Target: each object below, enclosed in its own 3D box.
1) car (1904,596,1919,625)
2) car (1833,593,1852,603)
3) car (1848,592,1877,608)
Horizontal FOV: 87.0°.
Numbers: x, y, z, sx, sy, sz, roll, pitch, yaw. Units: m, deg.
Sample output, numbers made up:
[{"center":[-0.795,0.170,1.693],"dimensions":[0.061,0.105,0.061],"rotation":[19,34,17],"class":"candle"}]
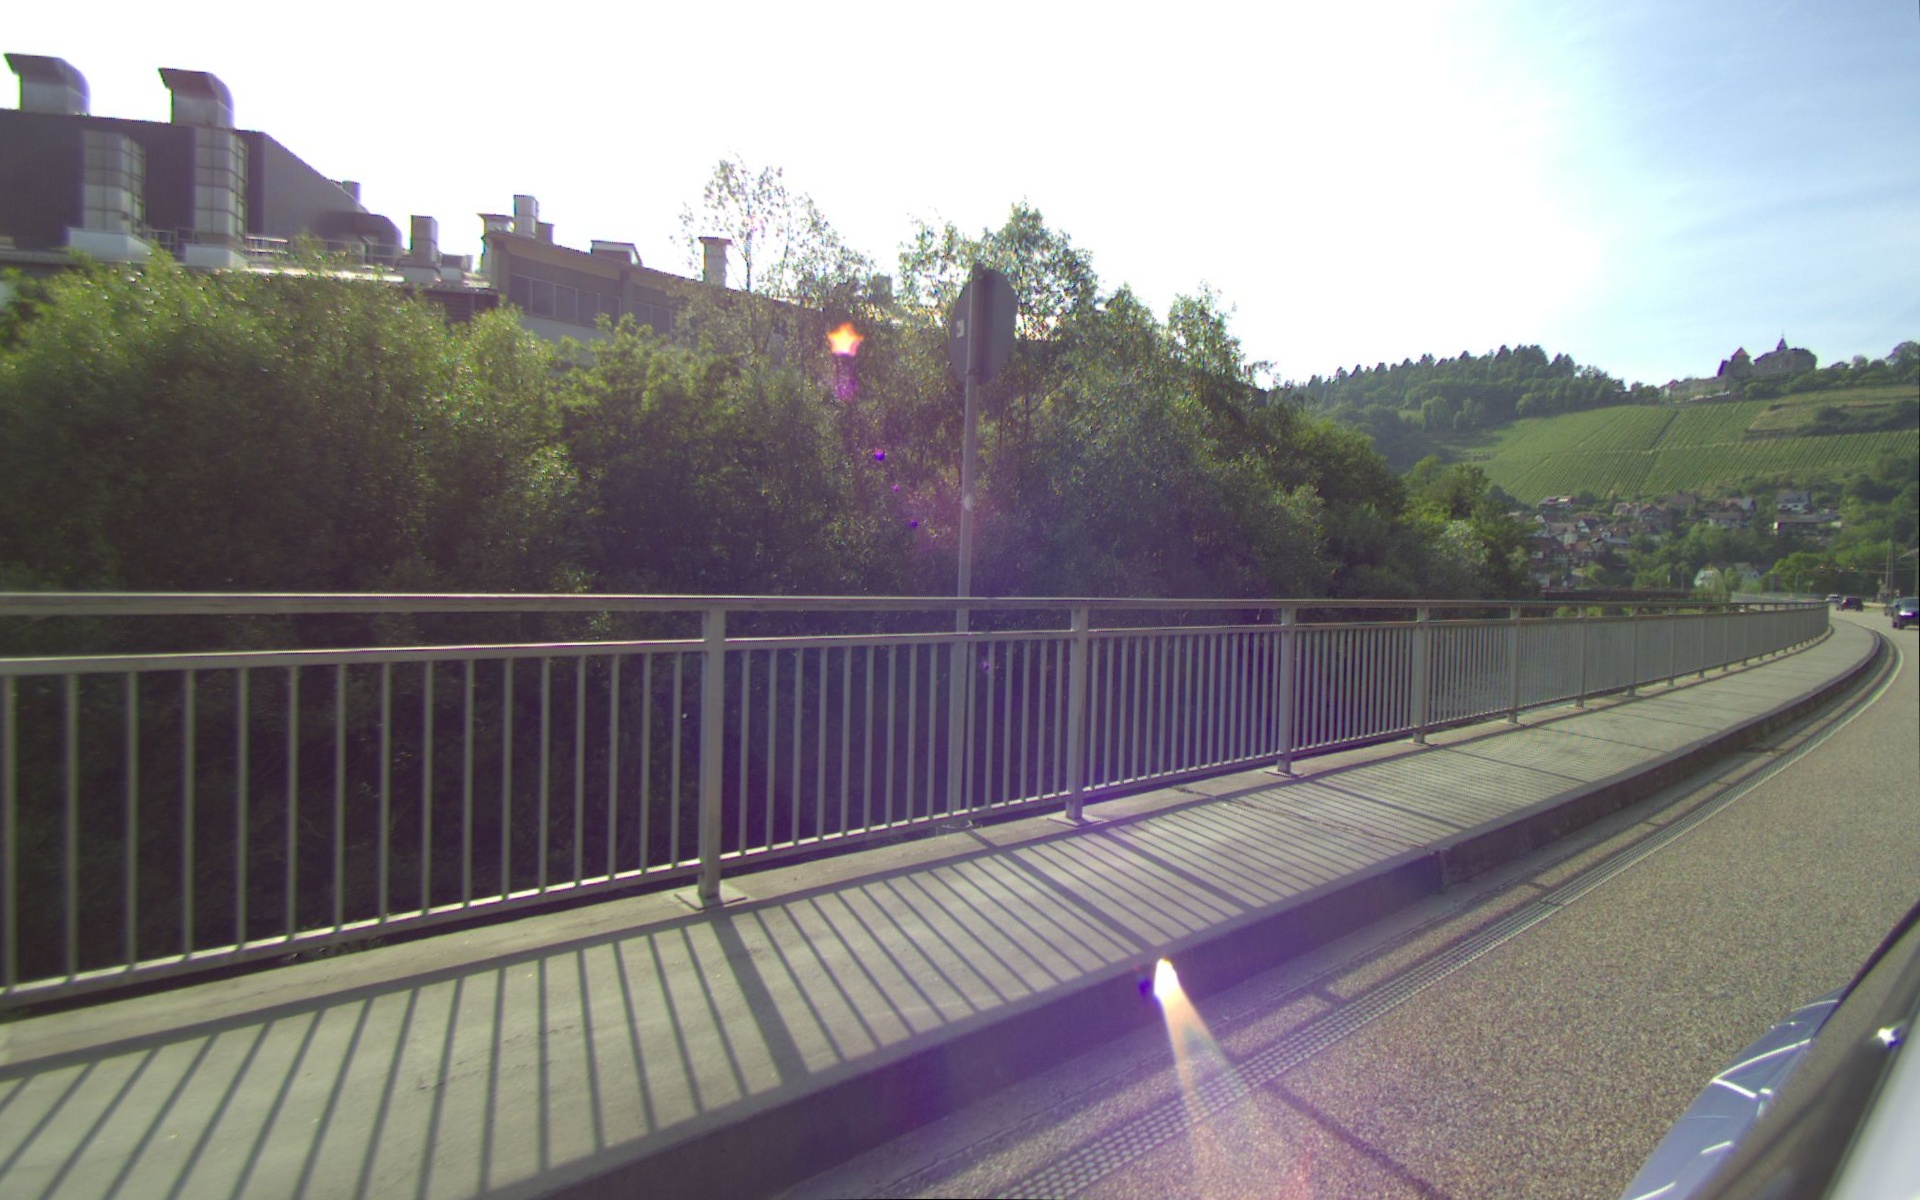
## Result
[{"center":[49.541,0.596,51.422],"dimensions":[1.991,1.410,3.942],"rotation":[3,0,39],"class":"car"},{"center":[148.396,-0.333,170.200],"dimensions":[1.842,1.563,4.545],"rotation":[3,1,35],"class":"car"},{"center":[91.613,0.054,102.775],"dimensions":[1.843,1.458,3.844],"rotation":[2,0,37],"class":"car"}]
